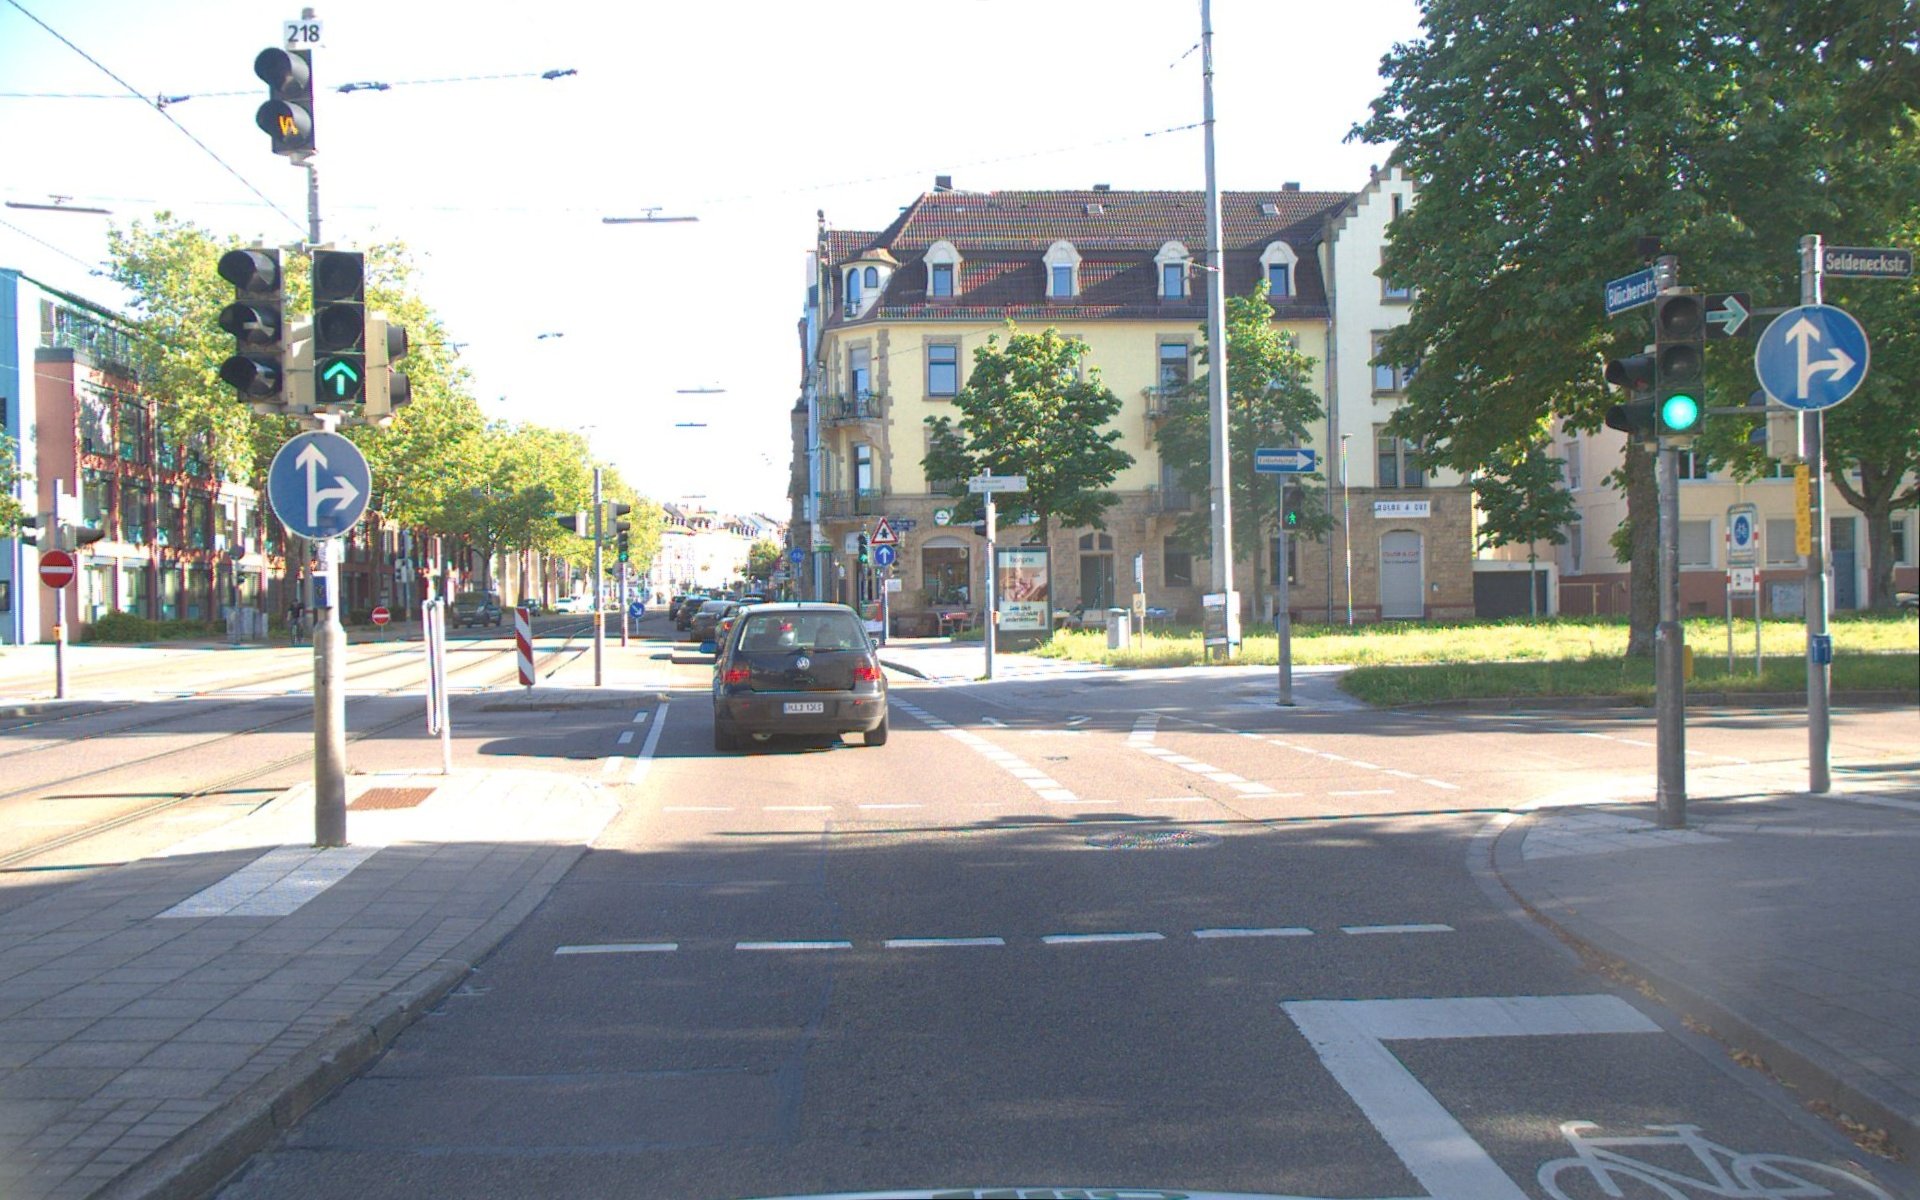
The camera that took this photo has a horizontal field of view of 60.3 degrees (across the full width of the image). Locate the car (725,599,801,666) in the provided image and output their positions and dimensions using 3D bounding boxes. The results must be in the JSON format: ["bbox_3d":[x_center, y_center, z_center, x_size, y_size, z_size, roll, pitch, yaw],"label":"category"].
[{"bbox_3d":[-4.469,0.705,37.757,1.603,1.396,3.752,-2,0,-6],"label":"car"}]

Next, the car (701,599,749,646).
[{"bbox_3d":[-7.982,0.730,55.998,1.541,1.334,3.640,-2,3,-9],"label":"car"}]

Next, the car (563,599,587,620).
[{"bbox_3d":[-38.788,0.971,166.740,1.956,2.049,3.993,-1,-1,-8],"label":"car"}]

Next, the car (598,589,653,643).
[{"bbox_3d":[-12.293,0.551,60.945,1.754,1.892,3.992,-1,0,-8],"label":"car"}]

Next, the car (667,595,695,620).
[{"bbox_3d":[-17.799,0.466,105.522,1.650,1.479,3.372,-1,0,-8],"label":"car"}]

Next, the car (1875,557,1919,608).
[{"bbox_3d":[36.175,-0.677,61.059,3.879,1.847,1.759,-1,0,-5],"label":"car"}]

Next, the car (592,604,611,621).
[{"bbox_3d":[-43.597,1.505,201.163,1.956,2.049,3.993,-1,-1,-8],"label":"car"}]

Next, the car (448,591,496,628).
[{"bbox_3d":[-25.732,0.490,87.357,1.936,1.847,4.285,-1,0,-11],"label":"car"}]

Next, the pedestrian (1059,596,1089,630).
[{"bbox_3d":[4.177,0.477,60.864,0.961,1.208,0.742,-1,0,-8],"label":"pedestrian"}]

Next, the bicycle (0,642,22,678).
[{"bbox_3d":[-30.819,1.921,52.323,1.900,1.125,0.554,-1,0,-41],"label":"bicycle"}]

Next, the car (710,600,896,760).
[{"bbox_3d":[-1.662,0.727,17.190,1.683,1.427,4.000,-1,0,-7],"label":"car"}]
